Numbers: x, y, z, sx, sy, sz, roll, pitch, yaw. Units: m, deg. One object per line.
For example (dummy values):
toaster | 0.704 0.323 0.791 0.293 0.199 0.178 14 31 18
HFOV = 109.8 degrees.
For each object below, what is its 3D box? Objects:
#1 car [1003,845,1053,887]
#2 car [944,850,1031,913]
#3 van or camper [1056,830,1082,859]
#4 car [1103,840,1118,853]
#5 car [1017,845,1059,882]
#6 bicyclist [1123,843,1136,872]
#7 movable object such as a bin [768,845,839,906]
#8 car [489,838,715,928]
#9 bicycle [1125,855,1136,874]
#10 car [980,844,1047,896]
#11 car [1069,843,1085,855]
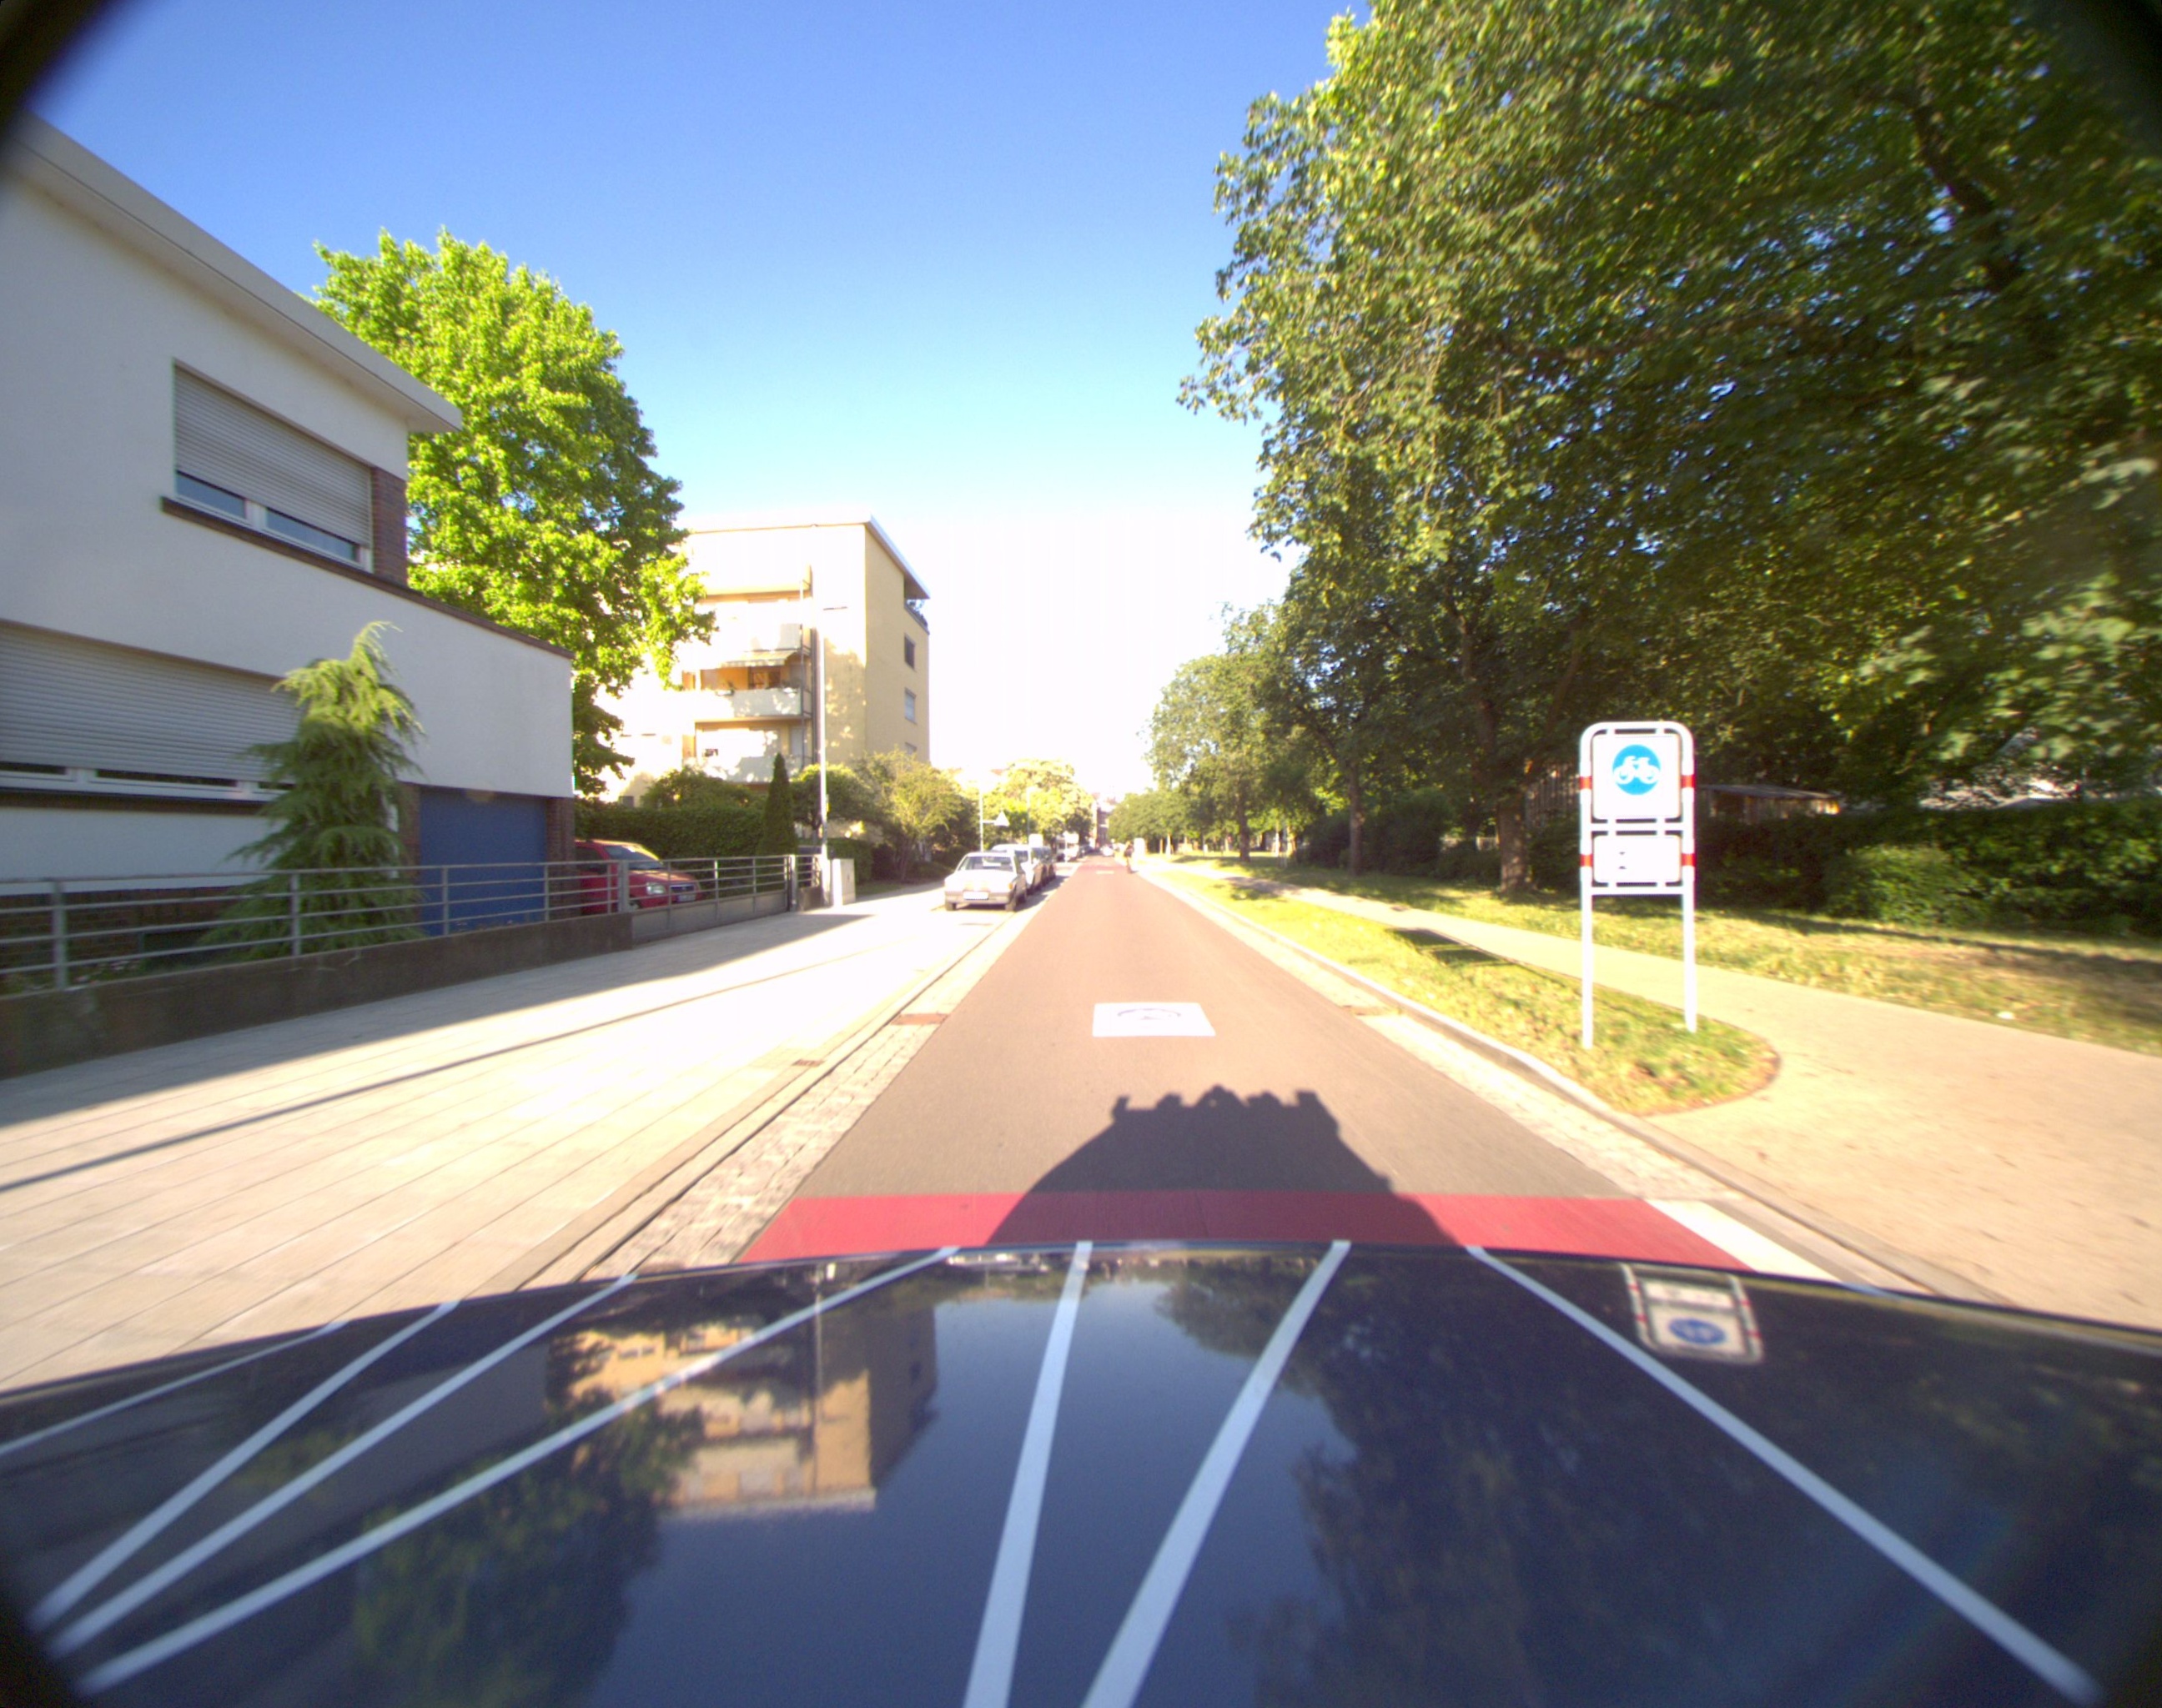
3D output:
car | -2.080 0.446 30.795 1.683 1.547 4.144 1 1 1
car | -2.283 0.623 19.559 1.567 1.382 4.374 1 1 2
van or camper | -1.196 -0.970 77.239 2.427 2.767 5.951 1 1 0
car | 4.188 -1.107 109.168 1.848 1.837 4.572 -1 1 -1
car | -1.960 0.397 35.690 1.714 1.601 4.168 1 1 0
bicyclist | 2.788 0.185 44.037 0.683 1.663 1.172 0 2 1
movable object such as a bin | -6.750 0.500 18.575 1.240 1.424 1.123 -1 1 3
car | -9.361 0.548 14.972 3.499 1.632 1.644 -1 1 9
bicycle | 2.852 0.601 44.123 0.558 1.026 1.914 0 2 1
car | -2.151 0.466 25.255 1.682 1.547 4.130 1 1 2
car | -0.493 -0.634 101.519 1.998 1.501 3.999 -2 1 1
